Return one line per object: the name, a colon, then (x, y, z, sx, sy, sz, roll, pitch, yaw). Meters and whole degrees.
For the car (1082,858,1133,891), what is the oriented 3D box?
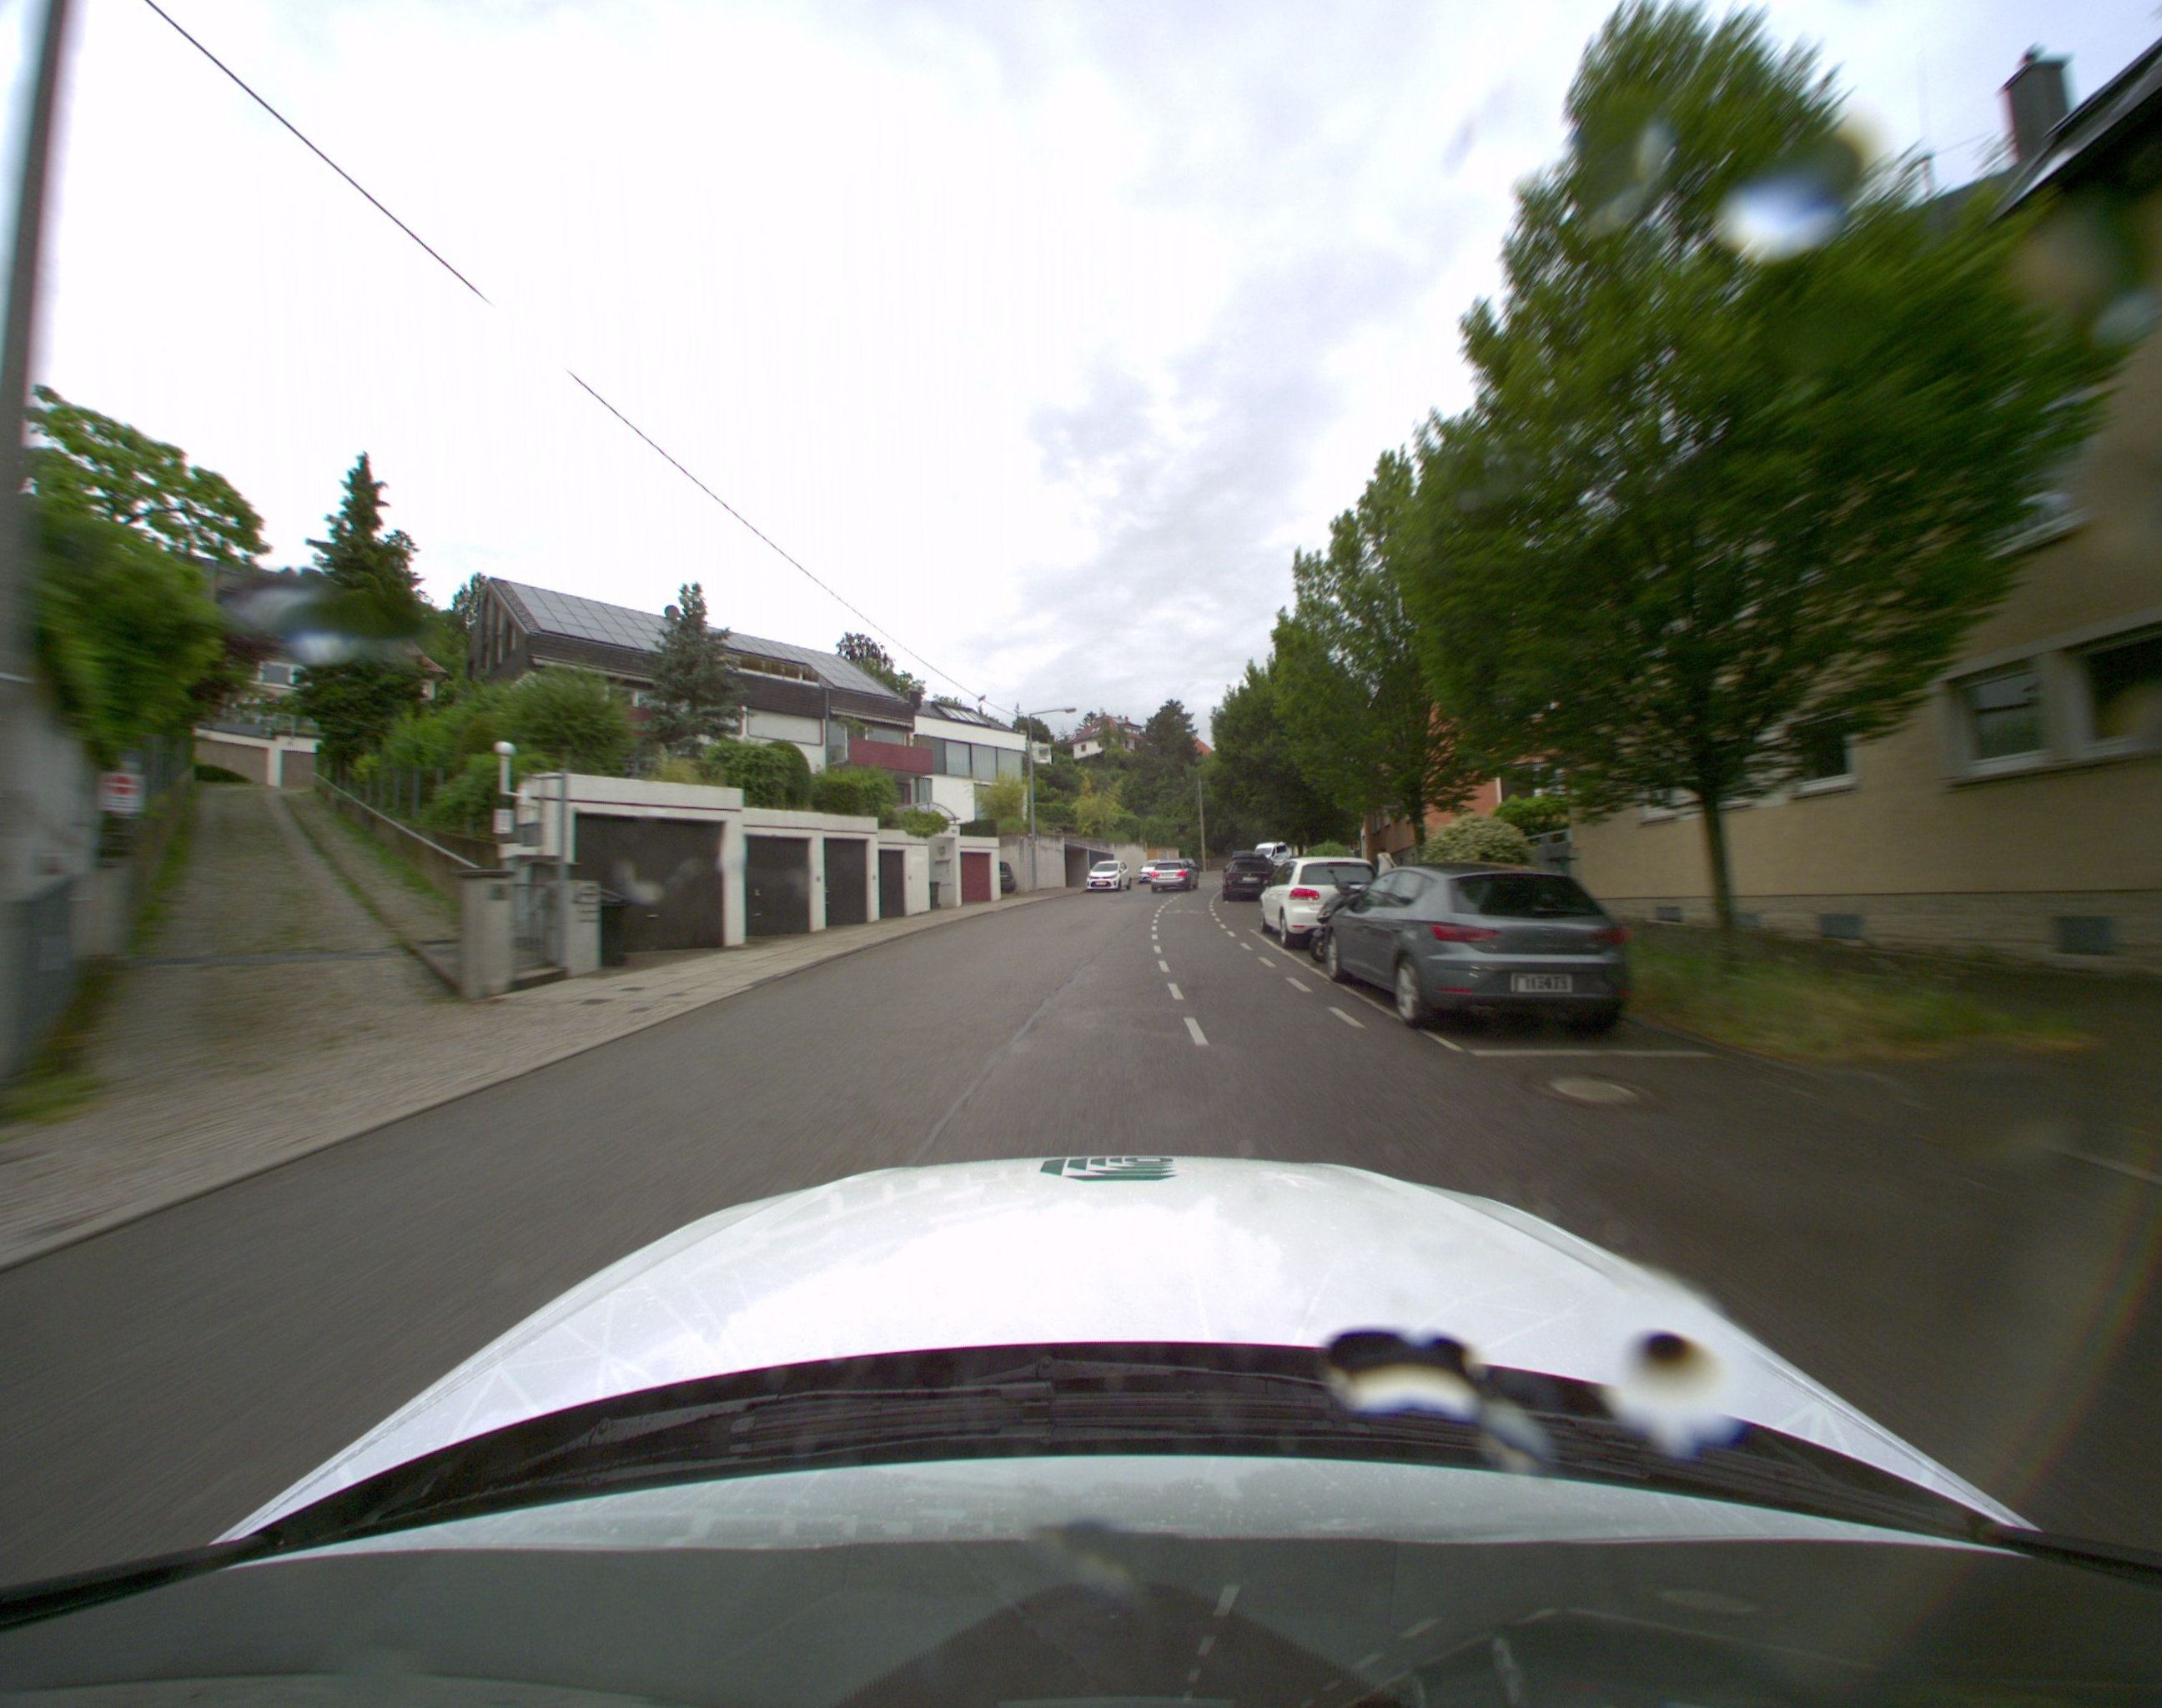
car: (1.377, 0.979, 40.496, 1.615, 1.516, 3.848, -2, -1, 15)

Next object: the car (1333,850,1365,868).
car: (24.823, 0.459, 75.376, 1.759, 1.553, 4.758, 0, 0, 31)

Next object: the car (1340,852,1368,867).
car: (27.247, 0.494, 81.208, 1.627, 1.424, 4.315, 0, 1, 32)

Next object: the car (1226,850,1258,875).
car: (11.692, 0.635, 58.994, 1.979, 1.708, 4.016, -1, -1, 15)

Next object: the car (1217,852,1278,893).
car: (7.466, 0.767, 36.161, 2.038, 1.656, 5.259, -2, -1, 18)

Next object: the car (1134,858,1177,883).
car: (4.830, 1.028, 52.109, 1.817, 1.440, 4.059, -2, -1, 18)

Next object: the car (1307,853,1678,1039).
car: (3.782, 0.723, 8.515, 1.870, 1.416, 4.472, -1, 0, 4)

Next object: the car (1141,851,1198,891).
car: (4.208, 0.776, 38.163, 2.010, 1.708, 4.232, -1, -1, 15)

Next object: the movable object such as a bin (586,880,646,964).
movable object such as a bin: (-6.611, 0.943, 11.593, 0.522, 1.146, 0.604, -1, -2, 45)

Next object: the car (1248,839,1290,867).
car: (18.853, -0.148, 81.500, 2.074, 2.550, 6.136, -3, 0, 32)

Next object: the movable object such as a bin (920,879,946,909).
movable object such as a bin: (-4.943, 1.336, 27.136, 0.537, 0.963, 0.650, -1, -1, 41)

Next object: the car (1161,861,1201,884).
car: (7.192, 1.304, 58.307, 1.698, 1.459, 4.707, -2, -1, 21)

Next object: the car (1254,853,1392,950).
car: (4.175, 0.748, 14.641, 1.649, 1.489, 4.006, 0, 0, 5)

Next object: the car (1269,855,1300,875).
car: (18.154, 0.996, 72.598, 1.975, 1.708, 4.023, -1, -1, 25)

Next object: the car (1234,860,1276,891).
car: (8.999, 1.055, 41.782, 1.848, 1.469, 5.076, 1, 0, 15)

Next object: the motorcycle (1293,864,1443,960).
motorcycle: (4.108, 0.819, 11.766, 1.907, 1.330, 0.787, 0, 0, -1)

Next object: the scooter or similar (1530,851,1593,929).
scooter or similar: (8.108, 0.587, 13.778, 0.411, 1.245, 1.176, -2, -1, 5)

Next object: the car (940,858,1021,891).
car: (-4.825, 0.960, 38.988, 3.882, 1.478, 1.778, 0, 0, 43)

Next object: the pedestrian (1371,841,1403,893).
pedestrian: (10.537, 0.431, 28.049, 0.755, 1.720, 0.905, -4, -1, 9)

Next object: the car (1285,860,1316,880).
car: (16.678, 1.172, 61.906, 1.653, 1.471, 3.731, 0, 0, 25)

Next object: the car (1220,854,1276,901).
car: (6.140, 0.821, 30.296, 1.843, 1.581, 4.871, -2, -1, 10)
